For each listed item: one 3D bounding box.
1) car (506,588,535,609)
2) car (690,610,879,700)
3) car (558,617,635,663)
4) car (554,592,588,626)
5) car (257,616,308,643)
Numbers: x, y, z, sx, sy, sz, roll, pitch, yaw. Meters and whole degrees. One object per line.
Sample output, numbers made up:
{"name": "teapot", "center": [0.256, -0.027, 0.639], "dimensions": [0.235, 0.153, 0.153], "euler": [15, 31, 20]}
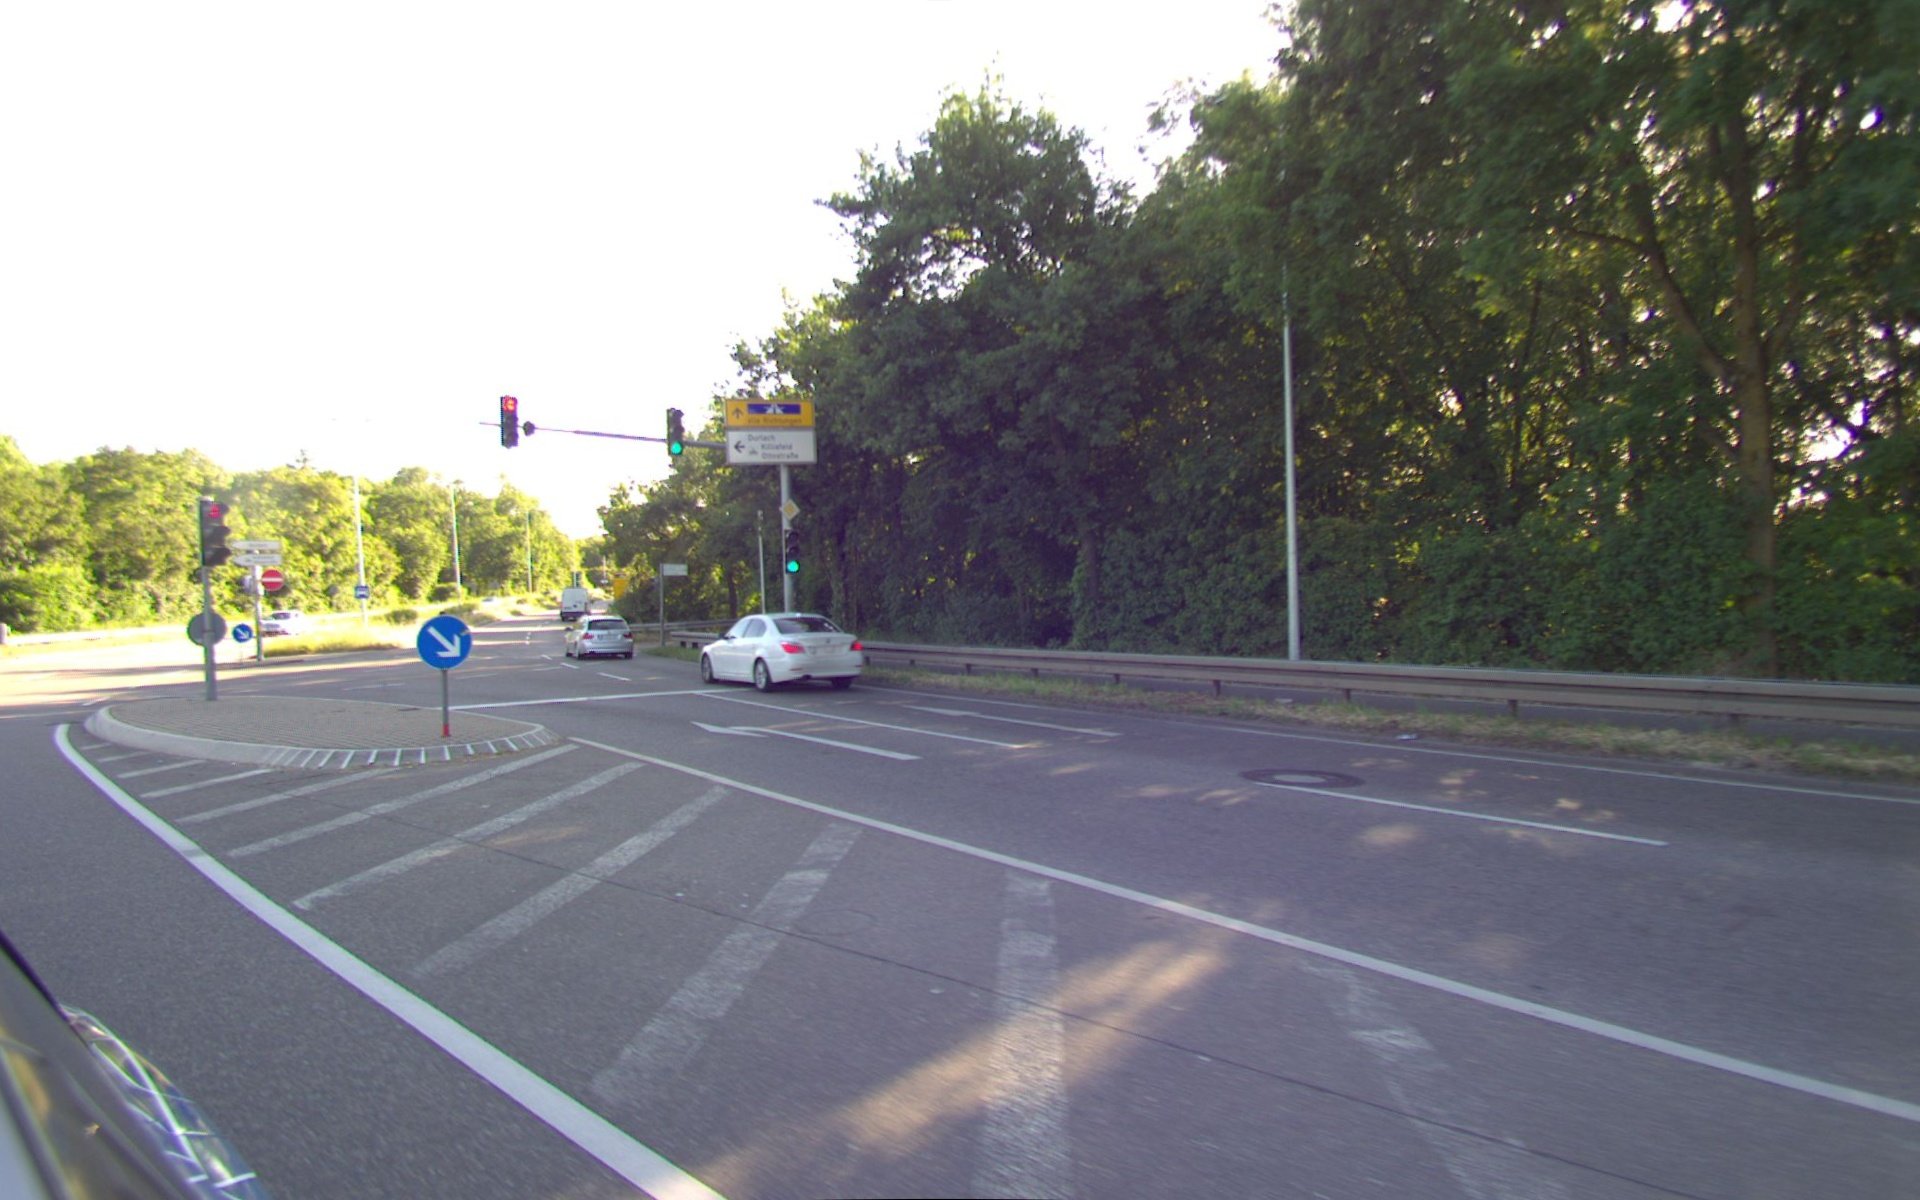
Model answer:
{"name": "car", "center": [-43.869, -0.131, 101.153], "dimensions": [1.967, 2.029, 4.011], "euler": [-1, 0, -14]}
{"name": "car", "center": [-3.566, 0.977, 19.831], "dimensions": [1.822, 1.499, 4.640], "euler": [-1, 0, -35]}
{"name": "car", "center": [-12.104, 1.263, 33.567], "dimensions": [1.677, 1.400, 4.541], "euler": [0, -1, -29]}
{"name": "car", "center": [-30.413, 0.721, 78.970], "dimensions": [2.231, 2.572, 6.418], "euler": [0, -1, -23]}
{"name": "car", "center": [-40.150, 1.710, 60.054], "dimensions": [1.735, 1.447, 4.344], "euler": [-1, 0, -24]}
